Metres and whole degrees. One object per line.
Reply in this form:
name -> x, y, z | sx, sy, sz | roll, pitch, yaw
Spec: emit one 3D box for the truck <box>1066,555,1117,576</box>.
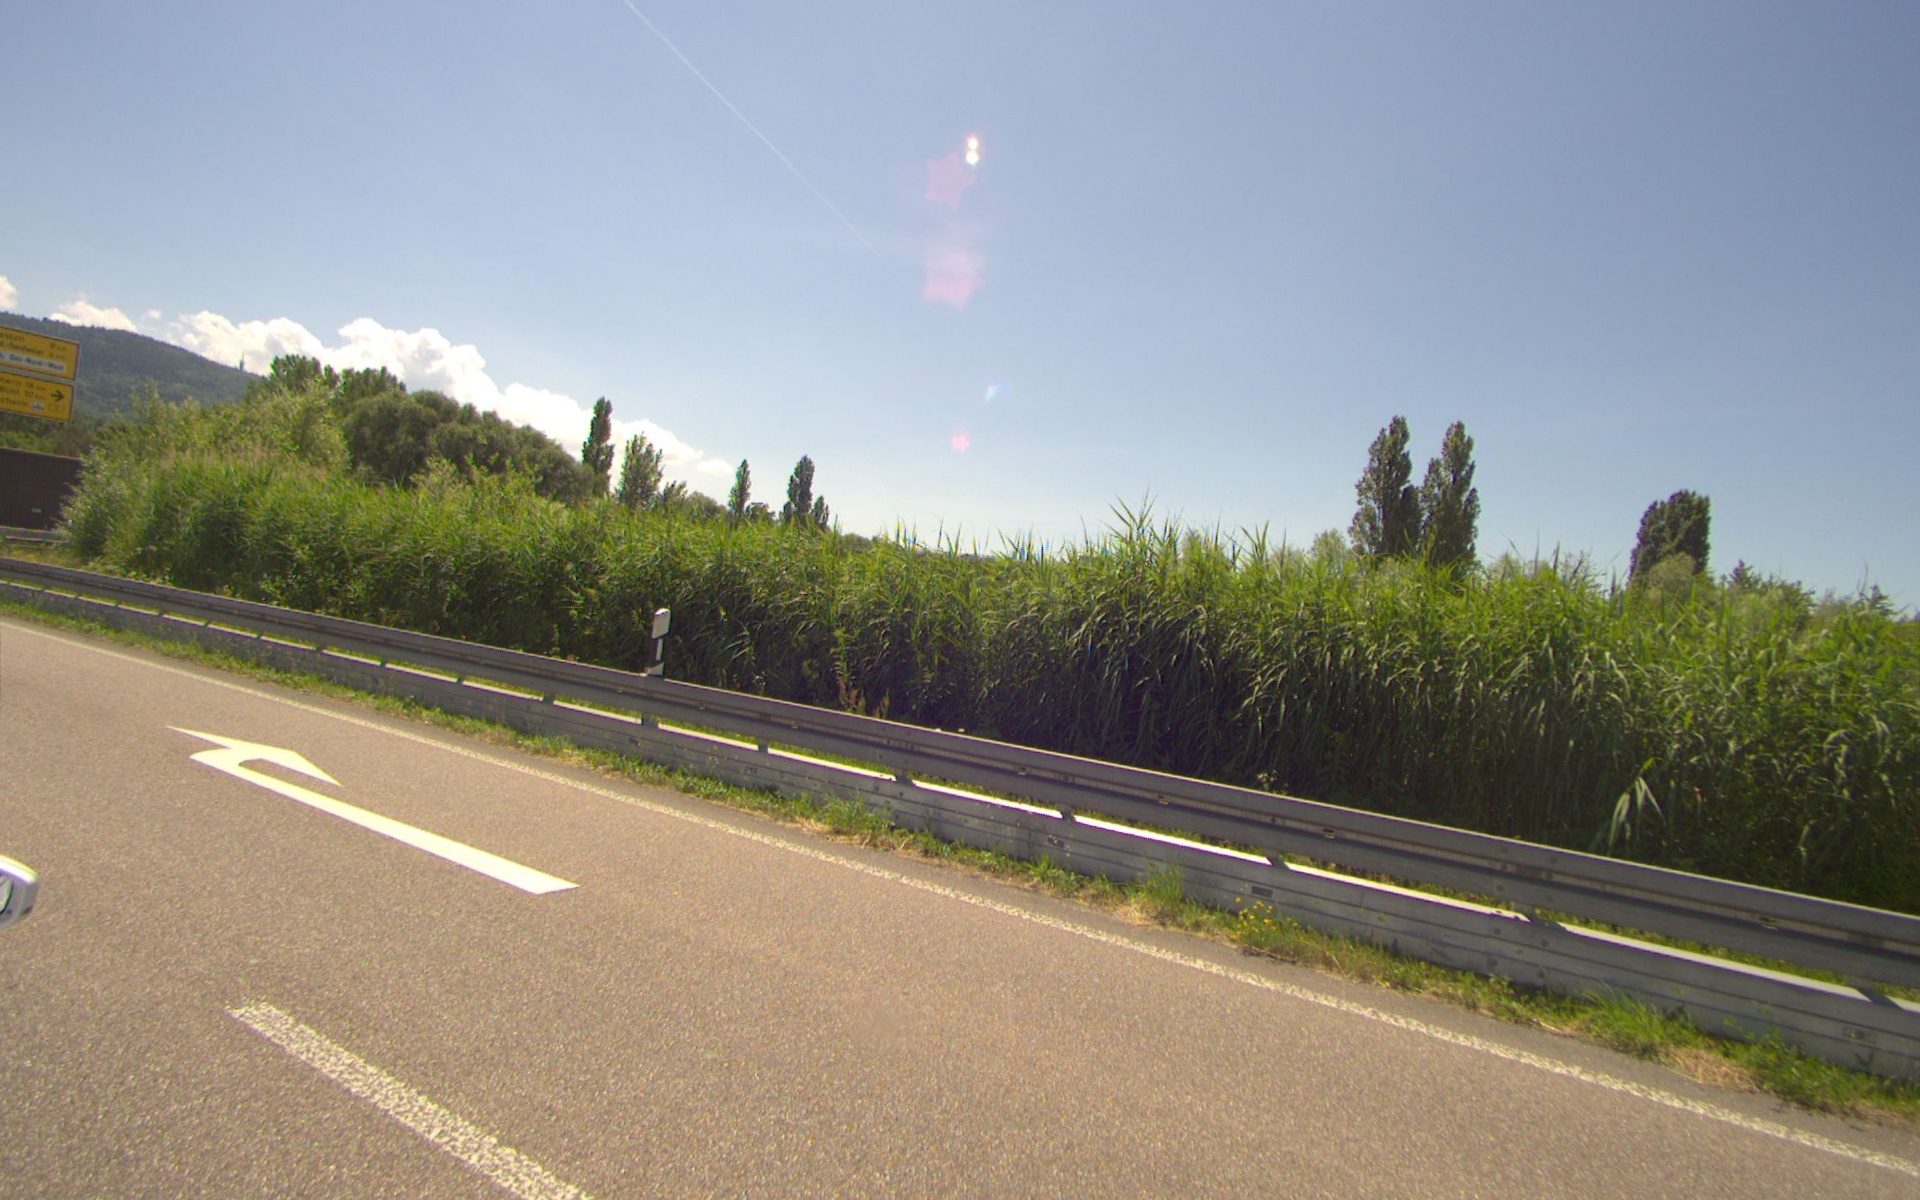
truck -> 18.708, -4.923, 143.221 | 6.553, 2.255, 2.623 | 6, -1, 32
